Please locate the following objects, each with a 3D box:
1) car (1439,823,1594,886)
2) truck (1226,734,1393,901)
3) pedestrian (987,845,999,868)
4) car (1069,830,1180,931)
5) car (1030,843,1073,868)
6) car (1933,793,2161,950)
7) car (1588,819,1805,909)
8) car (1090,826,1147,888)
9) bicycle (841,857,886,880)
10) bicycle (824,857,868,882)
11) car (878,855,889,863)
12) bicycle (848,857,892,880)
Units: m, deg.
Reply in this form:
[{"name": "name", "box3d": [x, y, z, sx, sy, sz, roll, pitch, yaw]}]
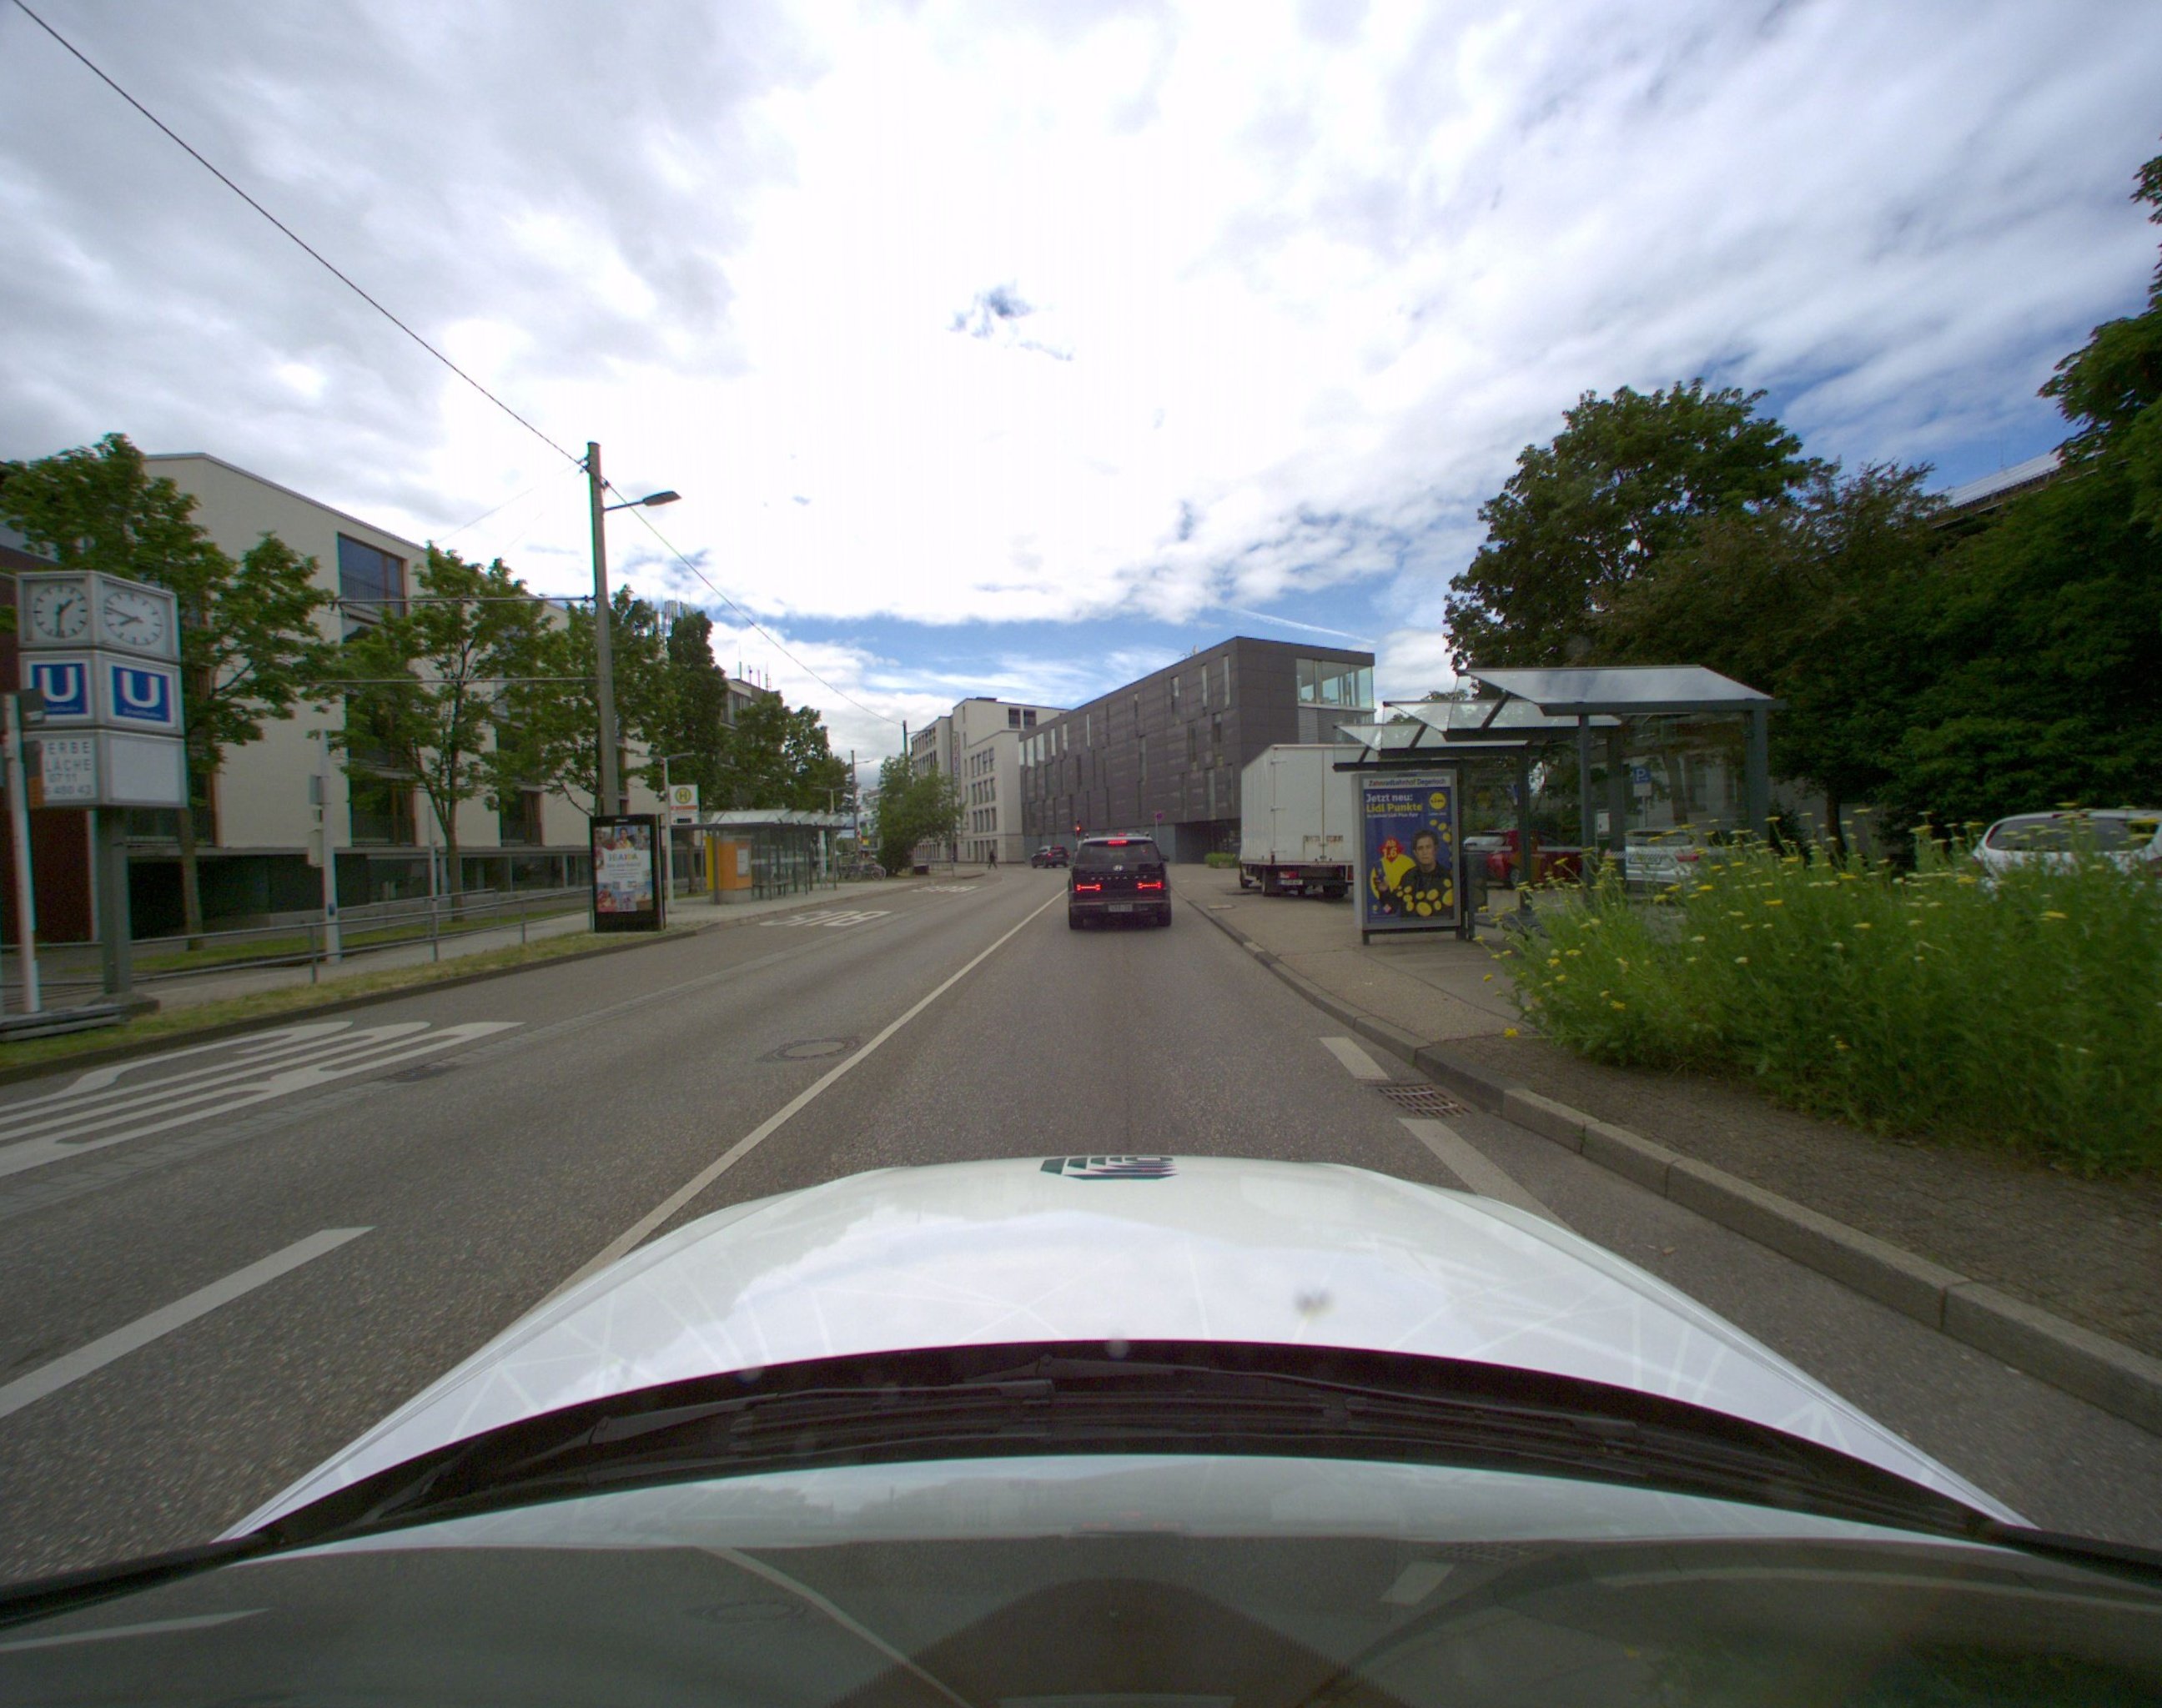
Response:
[{"name": "car", "box3d": [10.852, -0.005, 20.280, 3.510, 1.455, 1.666, -1, 0, -26]}, {"name": "truck", "box3d": [5.644, -0.839, 21.530, 2.562, 3.525, 7.818, -2, 1, 4]}, {"name": "pedestrian", "box3d": [-7.150, 0.177, 66.218, 0.938, 1.800, 0.589, -2, 0, -10]}, {"name": "car", "box3d": [0.743, 0.439, 16.130, 1.909, 1.725, 4.169, -1, 1, 0]}, {"name": "car", "box3d": [-2.255, 0.144, 61.382, 1.855, 1.677, 4.343, -3, 0, -22]}, {"name": "car", "box3d": [11.425, 0.094, 9.049, 3.657, 1.435, 1.578, -4, 0, -25]}, {"name": "car", "box3d": [11.351, 0.165, 14.998, 3.813, 1.474, 1.782, 0, -1, -28]}, {"name": "car", "box3d": [1.405, 0.074, 30.051, 1.847, 2.033, 4.441, -2, 1, 3]}, {"name": "bicycle", "box3d": [-10.936, 0.743, 40.975, 2.090, 1.106, 0.632, -1, 0, 3]}, {"name": "bicycle", "box3d": [-11.179, 0.732, 38.754, 1.920, 1.106, 0.588, -1, 0, 3]}, {"name": "car", "box3d": [-37.752, 0.932, 155.501, 1.903, 1.486, 3.979, -2, 1, -15]}, {"name": "bicycle", "box3d": [-10.791, 0.745, 41.694, 2.090, 1.106, 0.632, -1, 0, 3]}]
